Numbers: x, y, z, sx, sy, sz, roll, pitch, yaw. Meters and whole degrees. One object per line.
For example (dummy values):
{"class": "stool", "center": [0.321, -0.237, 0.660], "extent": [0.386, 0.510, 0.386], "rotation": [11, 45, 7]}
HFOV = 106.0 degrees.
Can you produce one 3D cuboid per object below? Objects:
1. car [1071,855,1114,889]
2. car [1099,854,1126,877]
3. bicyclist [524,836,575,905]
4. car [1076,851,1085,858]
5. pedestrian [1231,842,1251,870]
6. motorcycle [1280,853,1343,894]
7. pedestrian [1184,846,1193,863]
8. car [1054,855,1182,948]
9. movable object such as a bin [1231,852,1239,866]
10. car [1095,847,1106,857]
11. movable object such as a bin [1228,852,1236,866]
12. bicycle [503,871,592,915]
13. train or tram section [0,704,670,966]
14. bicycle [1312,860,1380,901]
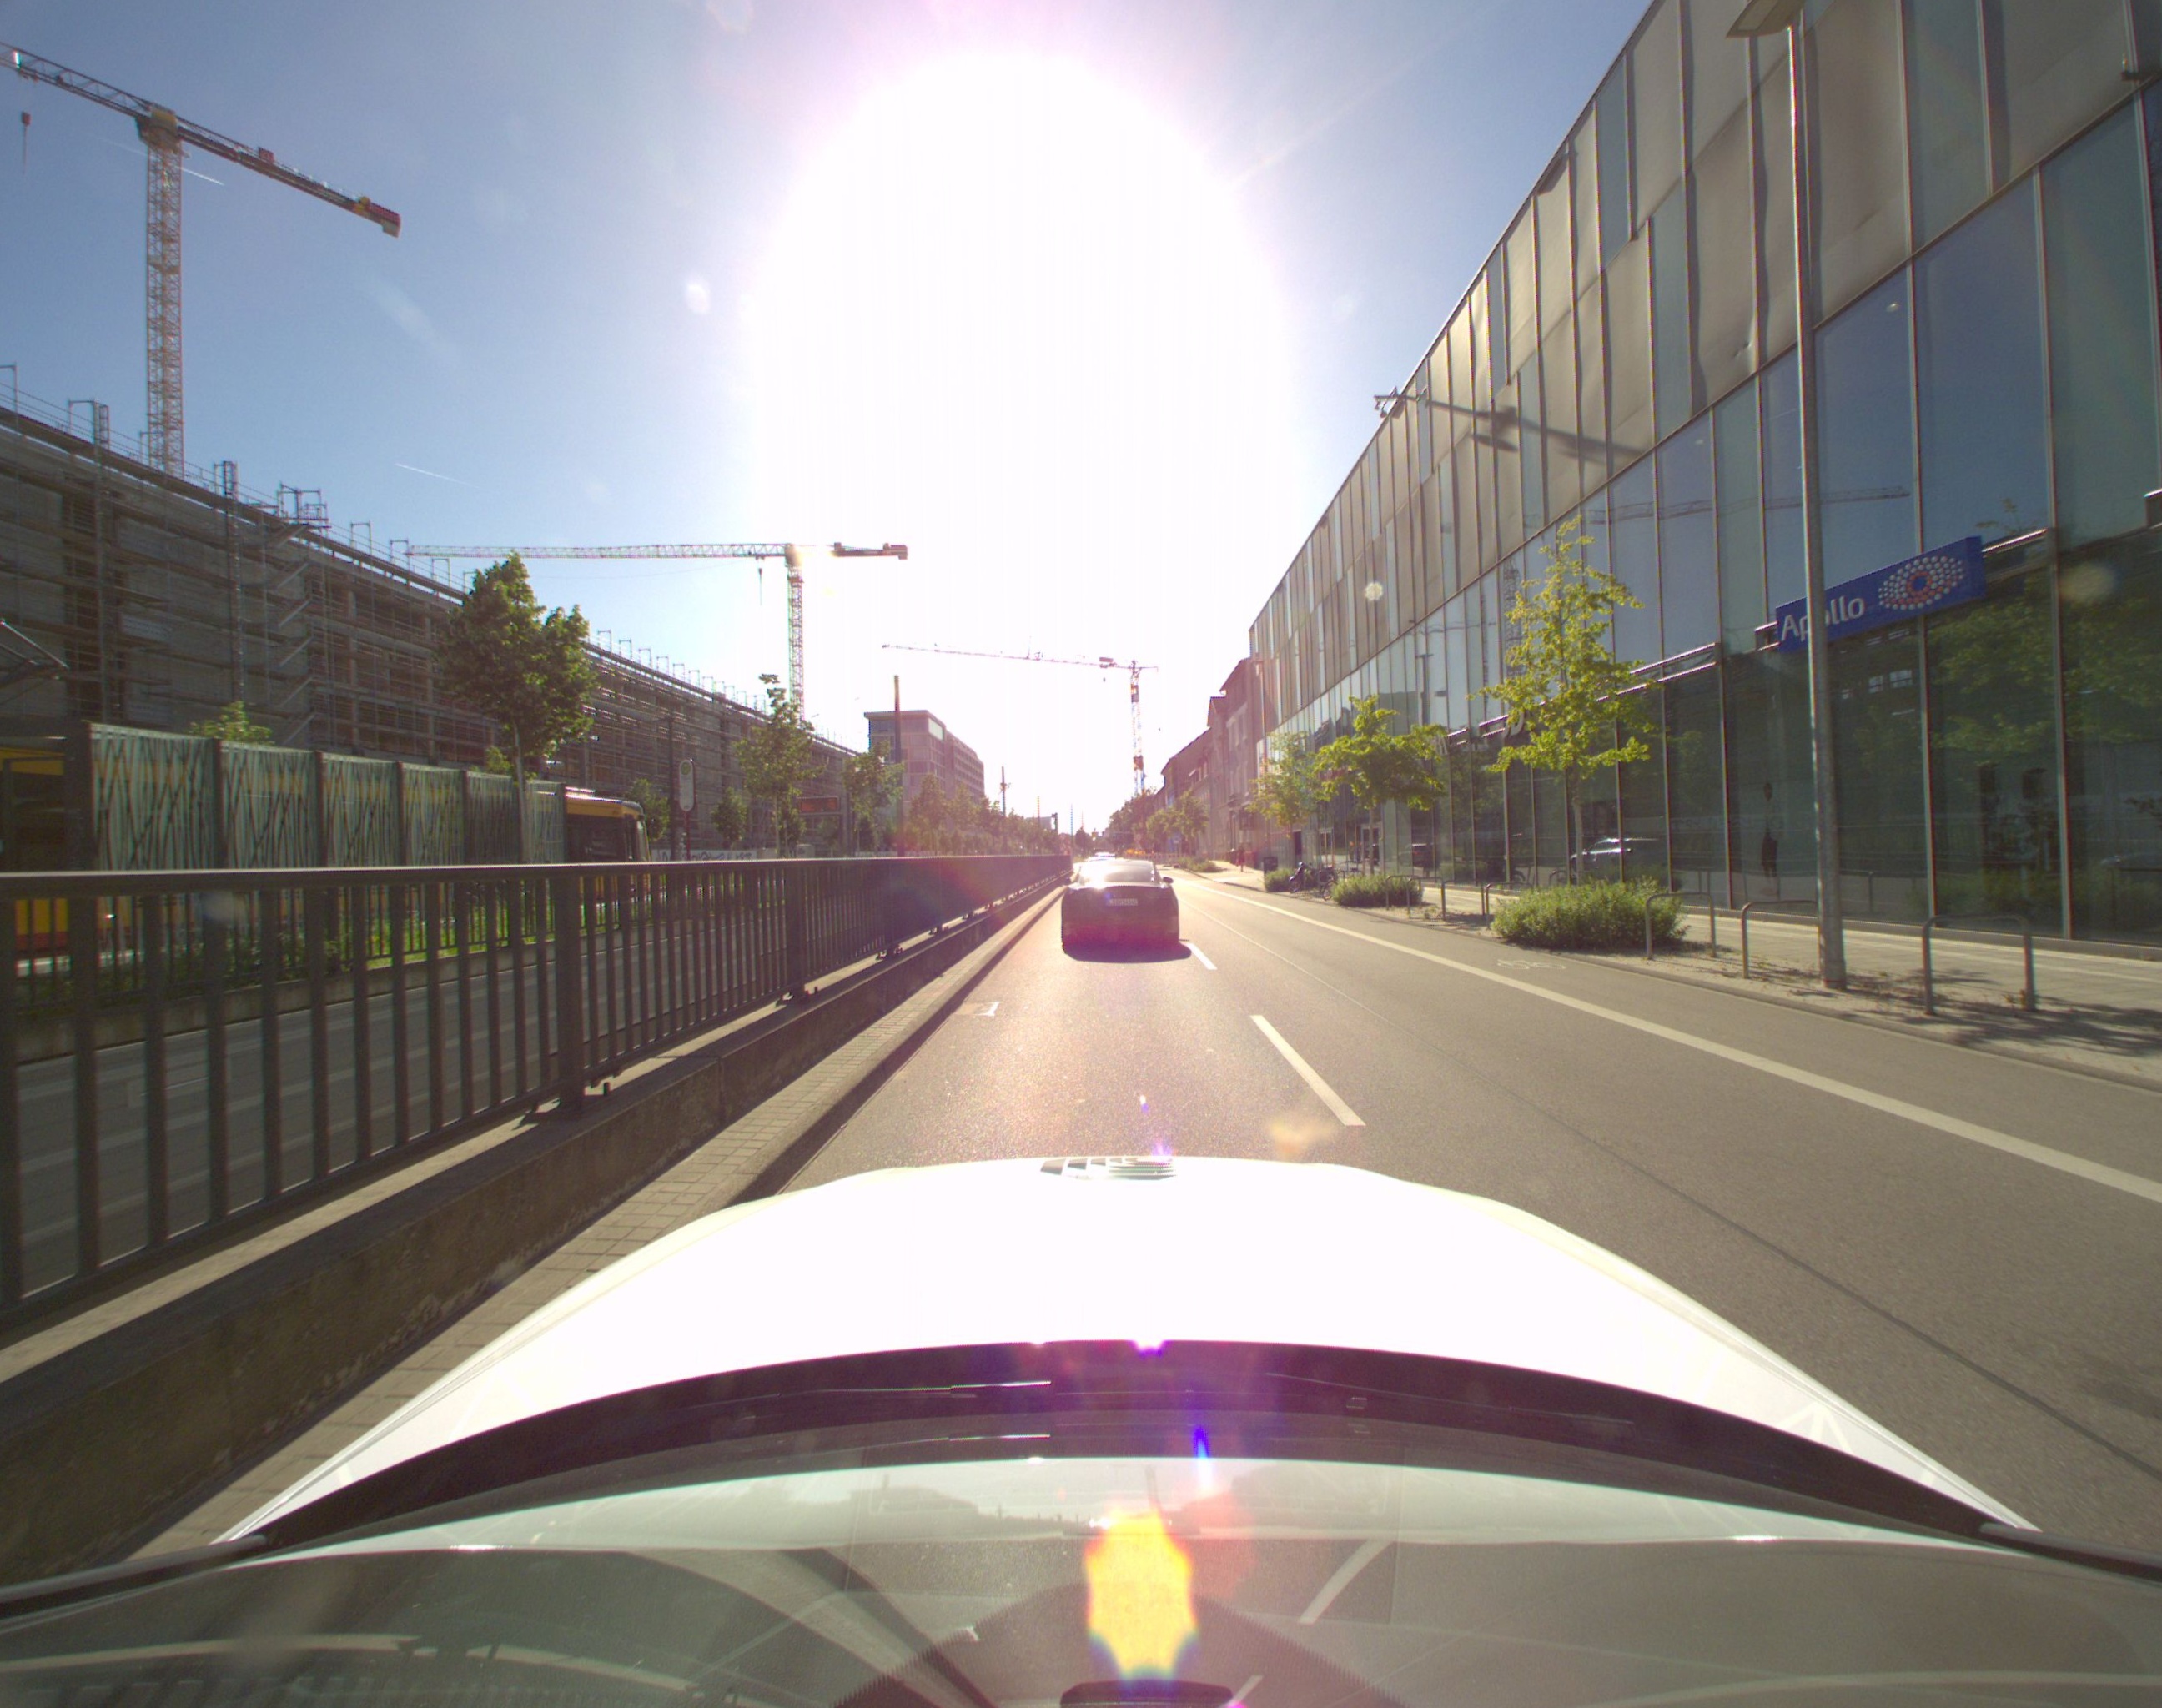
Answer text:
{"class": "car", "center": [0.557, 0.728, 35.426], "extent": [1.709, 1.319, 4.003], "rotation": [-1, 0, 3]}
{"class": "car", "center": [2.290, 0.775, 57.780], "extent": [1.777, 1.546, 4.042], "rotation": [-1, 0, 3]}
{"class": "bicyclist", "center": [-11.864, 0.368, 18.198], "extent": [0.535, 1.491, 0.853], "rotation": [-2, 0, 2]}
{"class": "car", "center": [-0.041, 0.156, 190.639], "extent": [1.987, 1.684, 4.000], "rotation": [0, 0, 1]}
{"class": "pedestrian", "center": [11.134, 0.116, 56.728], "extent": [1.091, 1.863, 1.523], "rotation": [-2, 0, 1]}
{"class": "motorcycle", "center": [8.470, 0.734, 29.965], "extent": [2.054, 1.353, 0.656], "rotation": [-5, -1, 25]}
{"class": "pedestrian", "center": [11.999, 0.044, 90.690], "extent": [0.848, 1.863, 0.930], "rotation": [-2, 0, 0]}
{"class": "car", "center": [0.766, 0.752, 15.023], "extent": [1.990, 1.434, 4.418], "rotation": [-1, 0, 5]}
{"class": "movable object such as a bin", "center": [12.502, 0.389, 66.218], "extent": [0.556, 1.169, 0.563], "rotation": [0, -1, 5]}
{"class": "car", "center": [3.675, -0.473, 154.180], "extent": [1.806, 1.809, 4.042], "rotation": [-1, 0, 3]}
{"class": "movable object such as a bin", "center": [12.450, 0.396, 67.069], "extent": [0.556, 1.169, 0.563], "rotation": [0, -1, 5]}
{"class": "bicycle", "center": [-11.854, 0.845, 18.191], "extent": [0.535, 0.885, 2.088], "rotation": [-2, 0, 2]}
{"class": "train or tram section", "center": [-14.799, -0.250, 14.690], "extent": [2.859, 3.279, 22.153], "rotation": [0, 0, 2]}
{"class": "bicycle", "center": [8.233, 0.805, 25.327], "extent": [1.881, 1.151, 0.669], "rotation": [-3, 0, -9]}
